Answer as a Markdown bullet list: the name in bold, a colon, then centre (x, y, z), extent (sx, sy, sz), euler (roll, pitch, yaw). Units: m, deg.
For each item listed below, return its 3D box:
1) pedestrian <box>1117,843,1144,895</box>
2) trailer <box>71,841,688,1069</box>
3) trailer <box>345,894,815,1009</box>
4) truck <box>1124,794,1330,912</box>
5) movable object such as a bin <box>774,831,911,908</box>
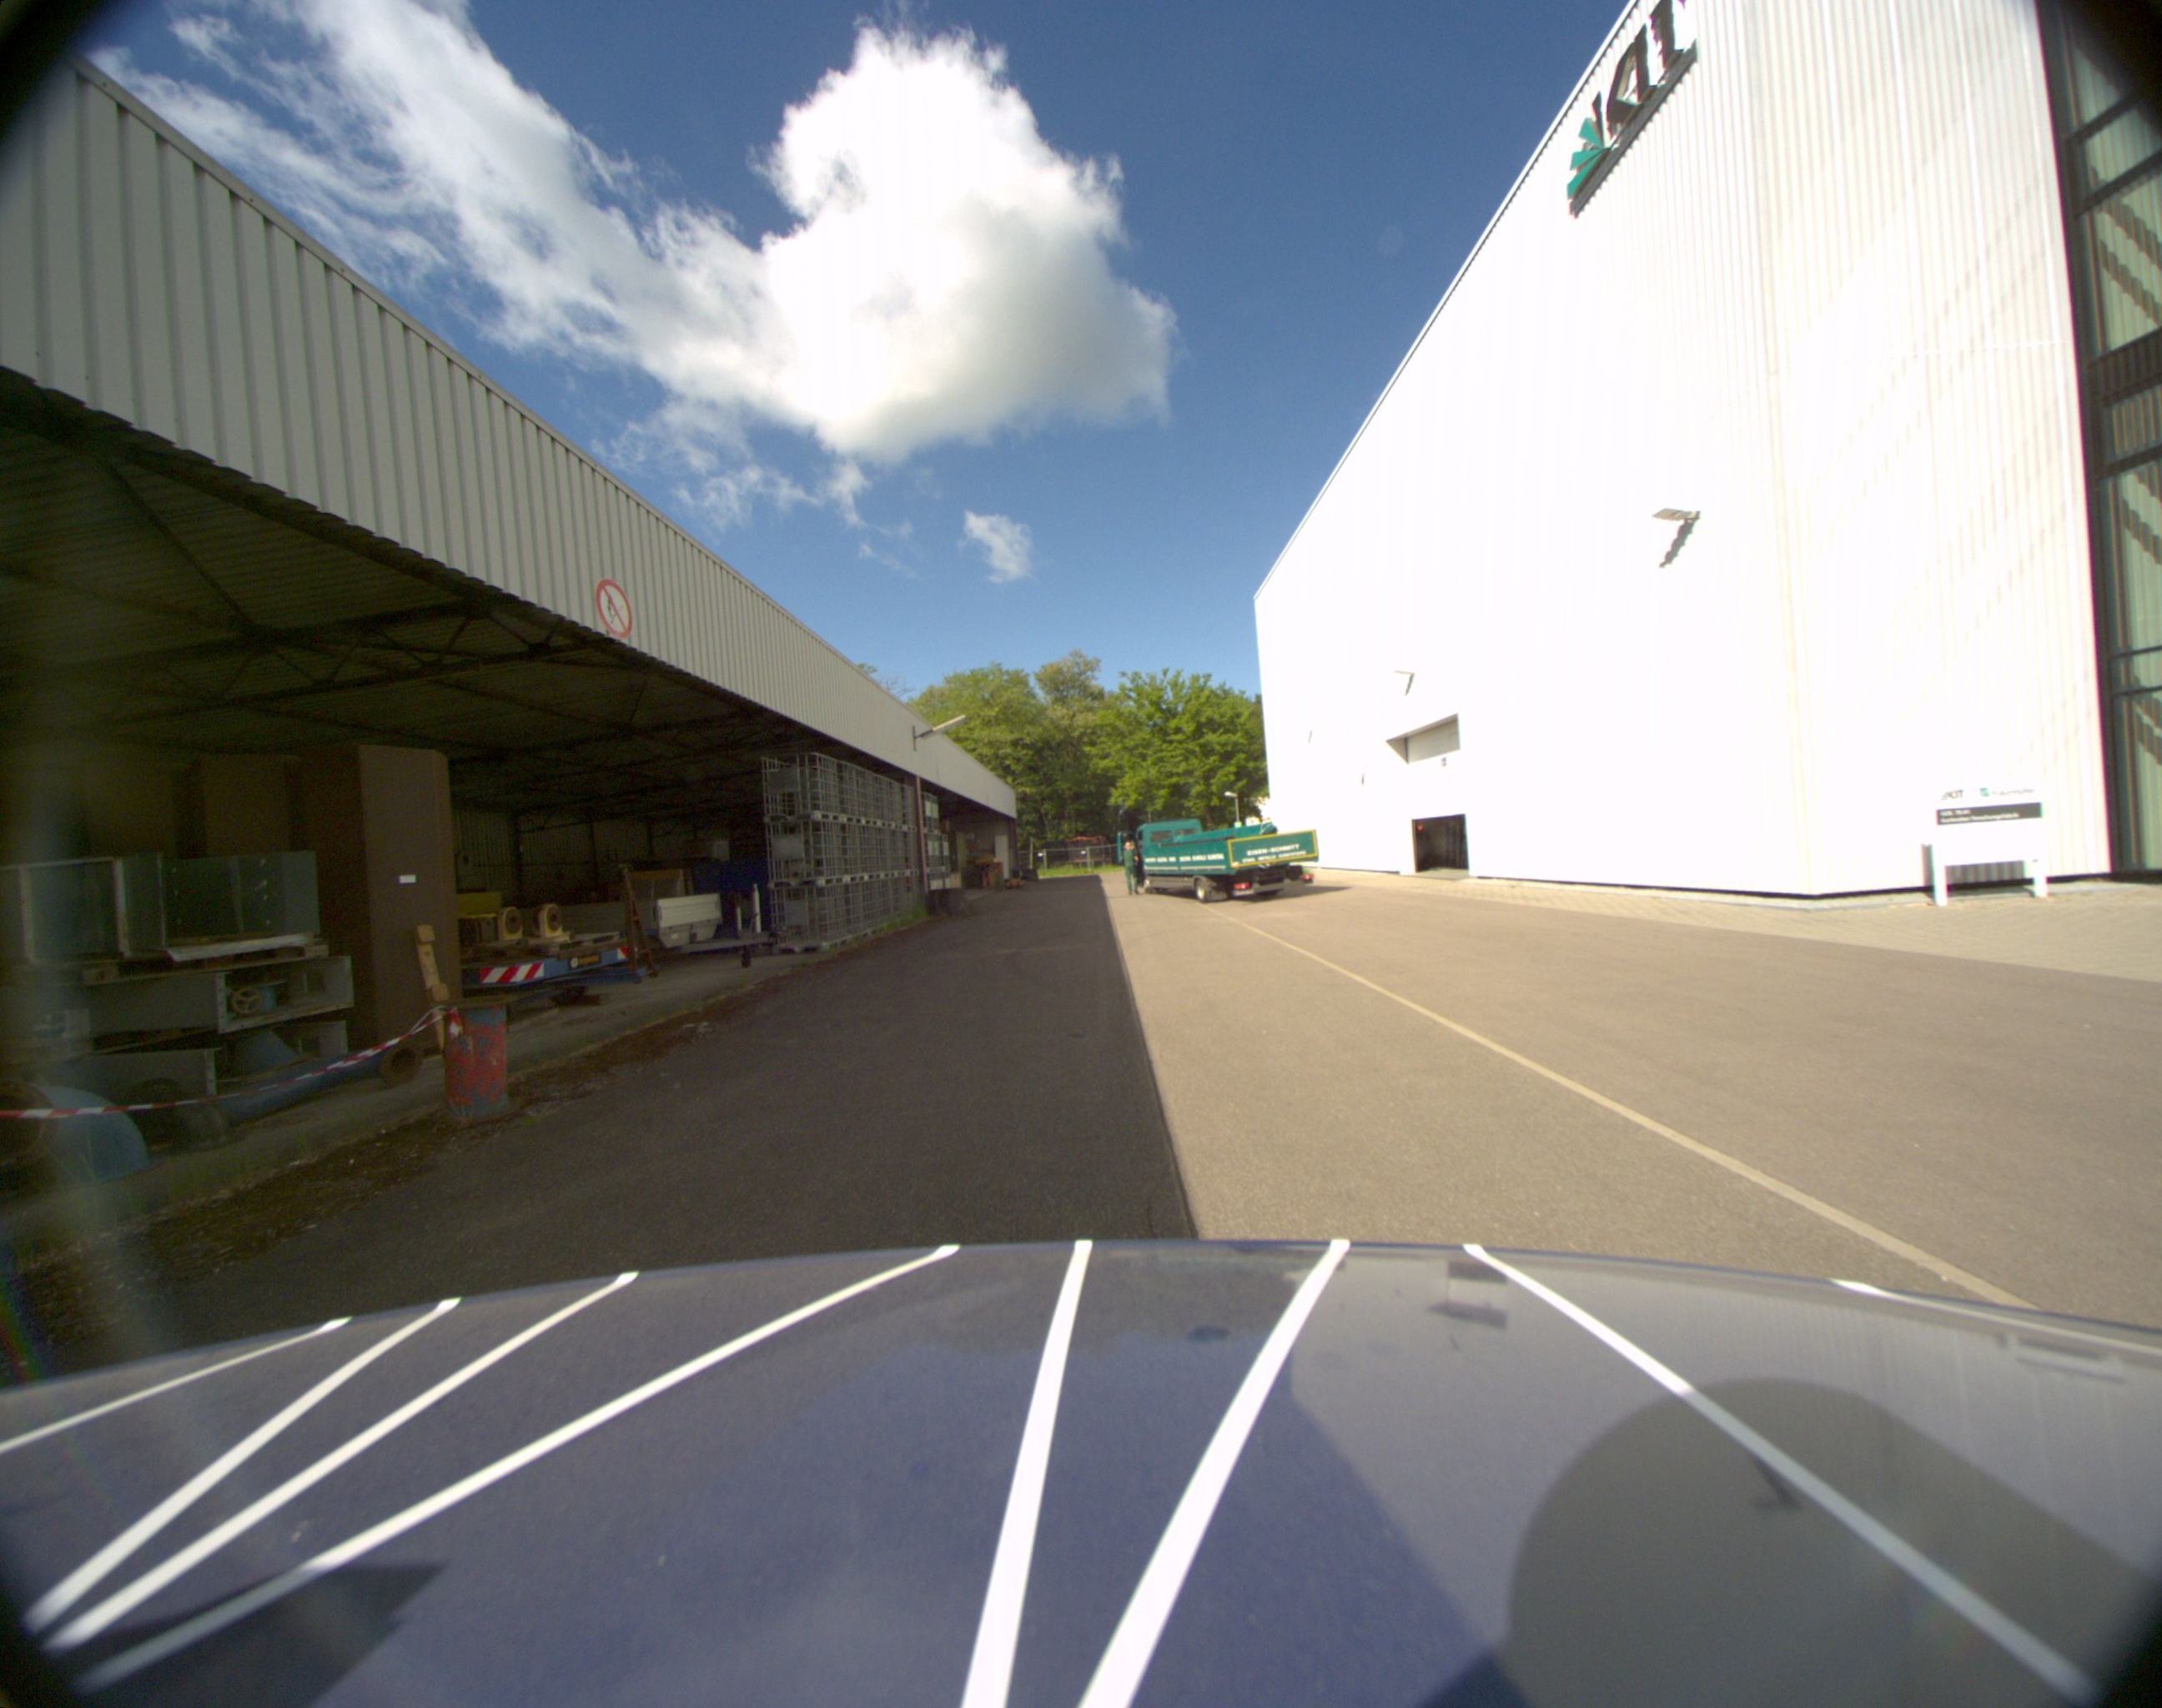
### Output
- **pedestrian**: centre (1.762, 0.519, 27.057), extent (0.893, 1.792, 1.040), euler (-2, 1, 5)
- **trailer**: centre (-7.237, 0.971, 8.233), extent (4.828, 1.985, 2.047), euler (-3, 1, 4)
- **trailer**: centre (-7.309, 1.406, 11.574), extent (5.749, 1.126, 2.009), euler (-4, 0, 0)
- **truck**: centre (3.989, 0.040, 23.860), extent (2.589, 2.701, 9.687), euler (-7, 0, -11)
- **movable object such as a bin**: centre (-9.307, 0.616, 29.927), extent (4.626, 2.706, 2.000), euler (-3, -1, -1)
